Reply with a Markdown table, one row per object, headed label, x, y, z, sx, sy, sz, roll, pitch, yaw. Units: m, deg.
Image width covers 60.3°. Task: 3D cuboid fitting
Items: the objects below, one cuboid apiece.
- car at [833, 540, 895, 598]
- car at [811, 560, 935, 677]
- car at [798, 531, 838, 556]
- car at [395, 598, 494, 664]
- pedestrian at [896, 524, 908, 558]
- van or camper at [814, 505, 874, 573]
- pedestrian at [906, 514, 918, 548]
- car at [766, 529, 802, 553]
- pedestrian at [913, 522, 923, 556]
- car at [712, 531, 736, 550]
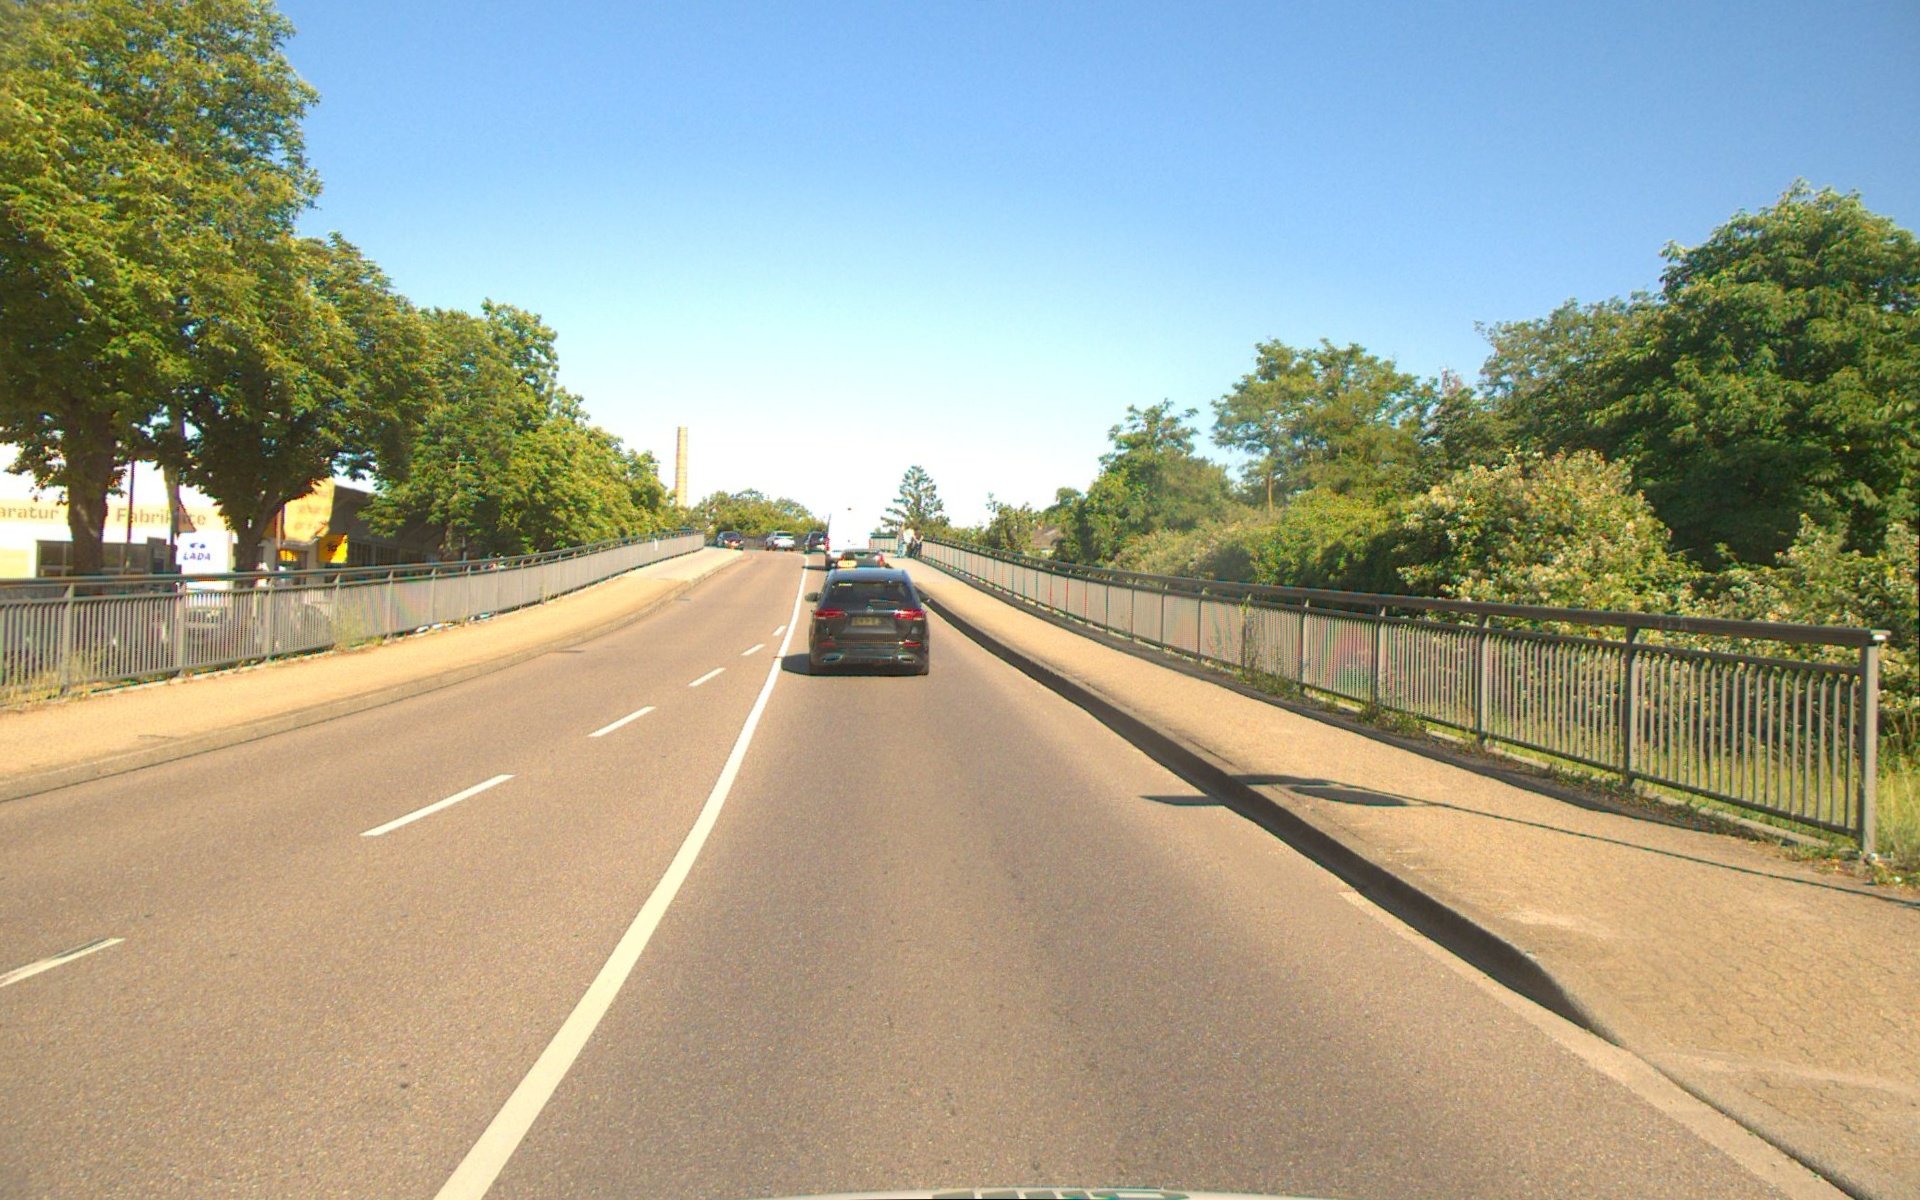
| label | x | y | z | sx | sy | sz | roll | pitch | yaw |
| --- | --- | --- | --- | --- | --- | --- | --- | --- | --- |
| car | -2.897 | -0.946 | 50.704 | 1.768 | 1.668 | 3.999 | 1 | 1 | -2 |
| car | -1.310 | 0.212 | 25.239 | 1.734 | 1.620 | 3.988 | 0 | 2 | -3 |
| car | -9.719 | -3.883 | 113.545 | 1.877 | 1.514 | 4.273 | 0 | -1 | 6 |
| car | -16.974 | 0.971 | 54.628 | 1.884 | 2.026 | 4.257 | 2 | 0 | 0 |
| pedestrian | -3.094 | -3.173 | 88.386 | 0.590 | 1.780 | 0.716 | 1 | 0 | -5 |
| van or camper | -5.294 | -2.682 | 74.754 | 2.184 | 2.787 | 7.067 | 2 | 0 | -8 |
| pedestrian | -2.576 | -3.735 | 89.186 | 0.539 | 1.780 | 0.738 | 1 | 0 | -5 |
| car | -13.943 | -4.682 | 131.359 | 1.951 | 1.709 | 4.003 | 0 | -1 | 7 |
| pedestrian | -2.236 | -3.230 | 88.194 | 0.462 | 1.780 | 0.653 | 1 | 0 | -5 |
| car | -18.658 | -4.704 | 130.881 | 1.735 | 1.500 | 3.986 | -1 | 2 | -5 |
